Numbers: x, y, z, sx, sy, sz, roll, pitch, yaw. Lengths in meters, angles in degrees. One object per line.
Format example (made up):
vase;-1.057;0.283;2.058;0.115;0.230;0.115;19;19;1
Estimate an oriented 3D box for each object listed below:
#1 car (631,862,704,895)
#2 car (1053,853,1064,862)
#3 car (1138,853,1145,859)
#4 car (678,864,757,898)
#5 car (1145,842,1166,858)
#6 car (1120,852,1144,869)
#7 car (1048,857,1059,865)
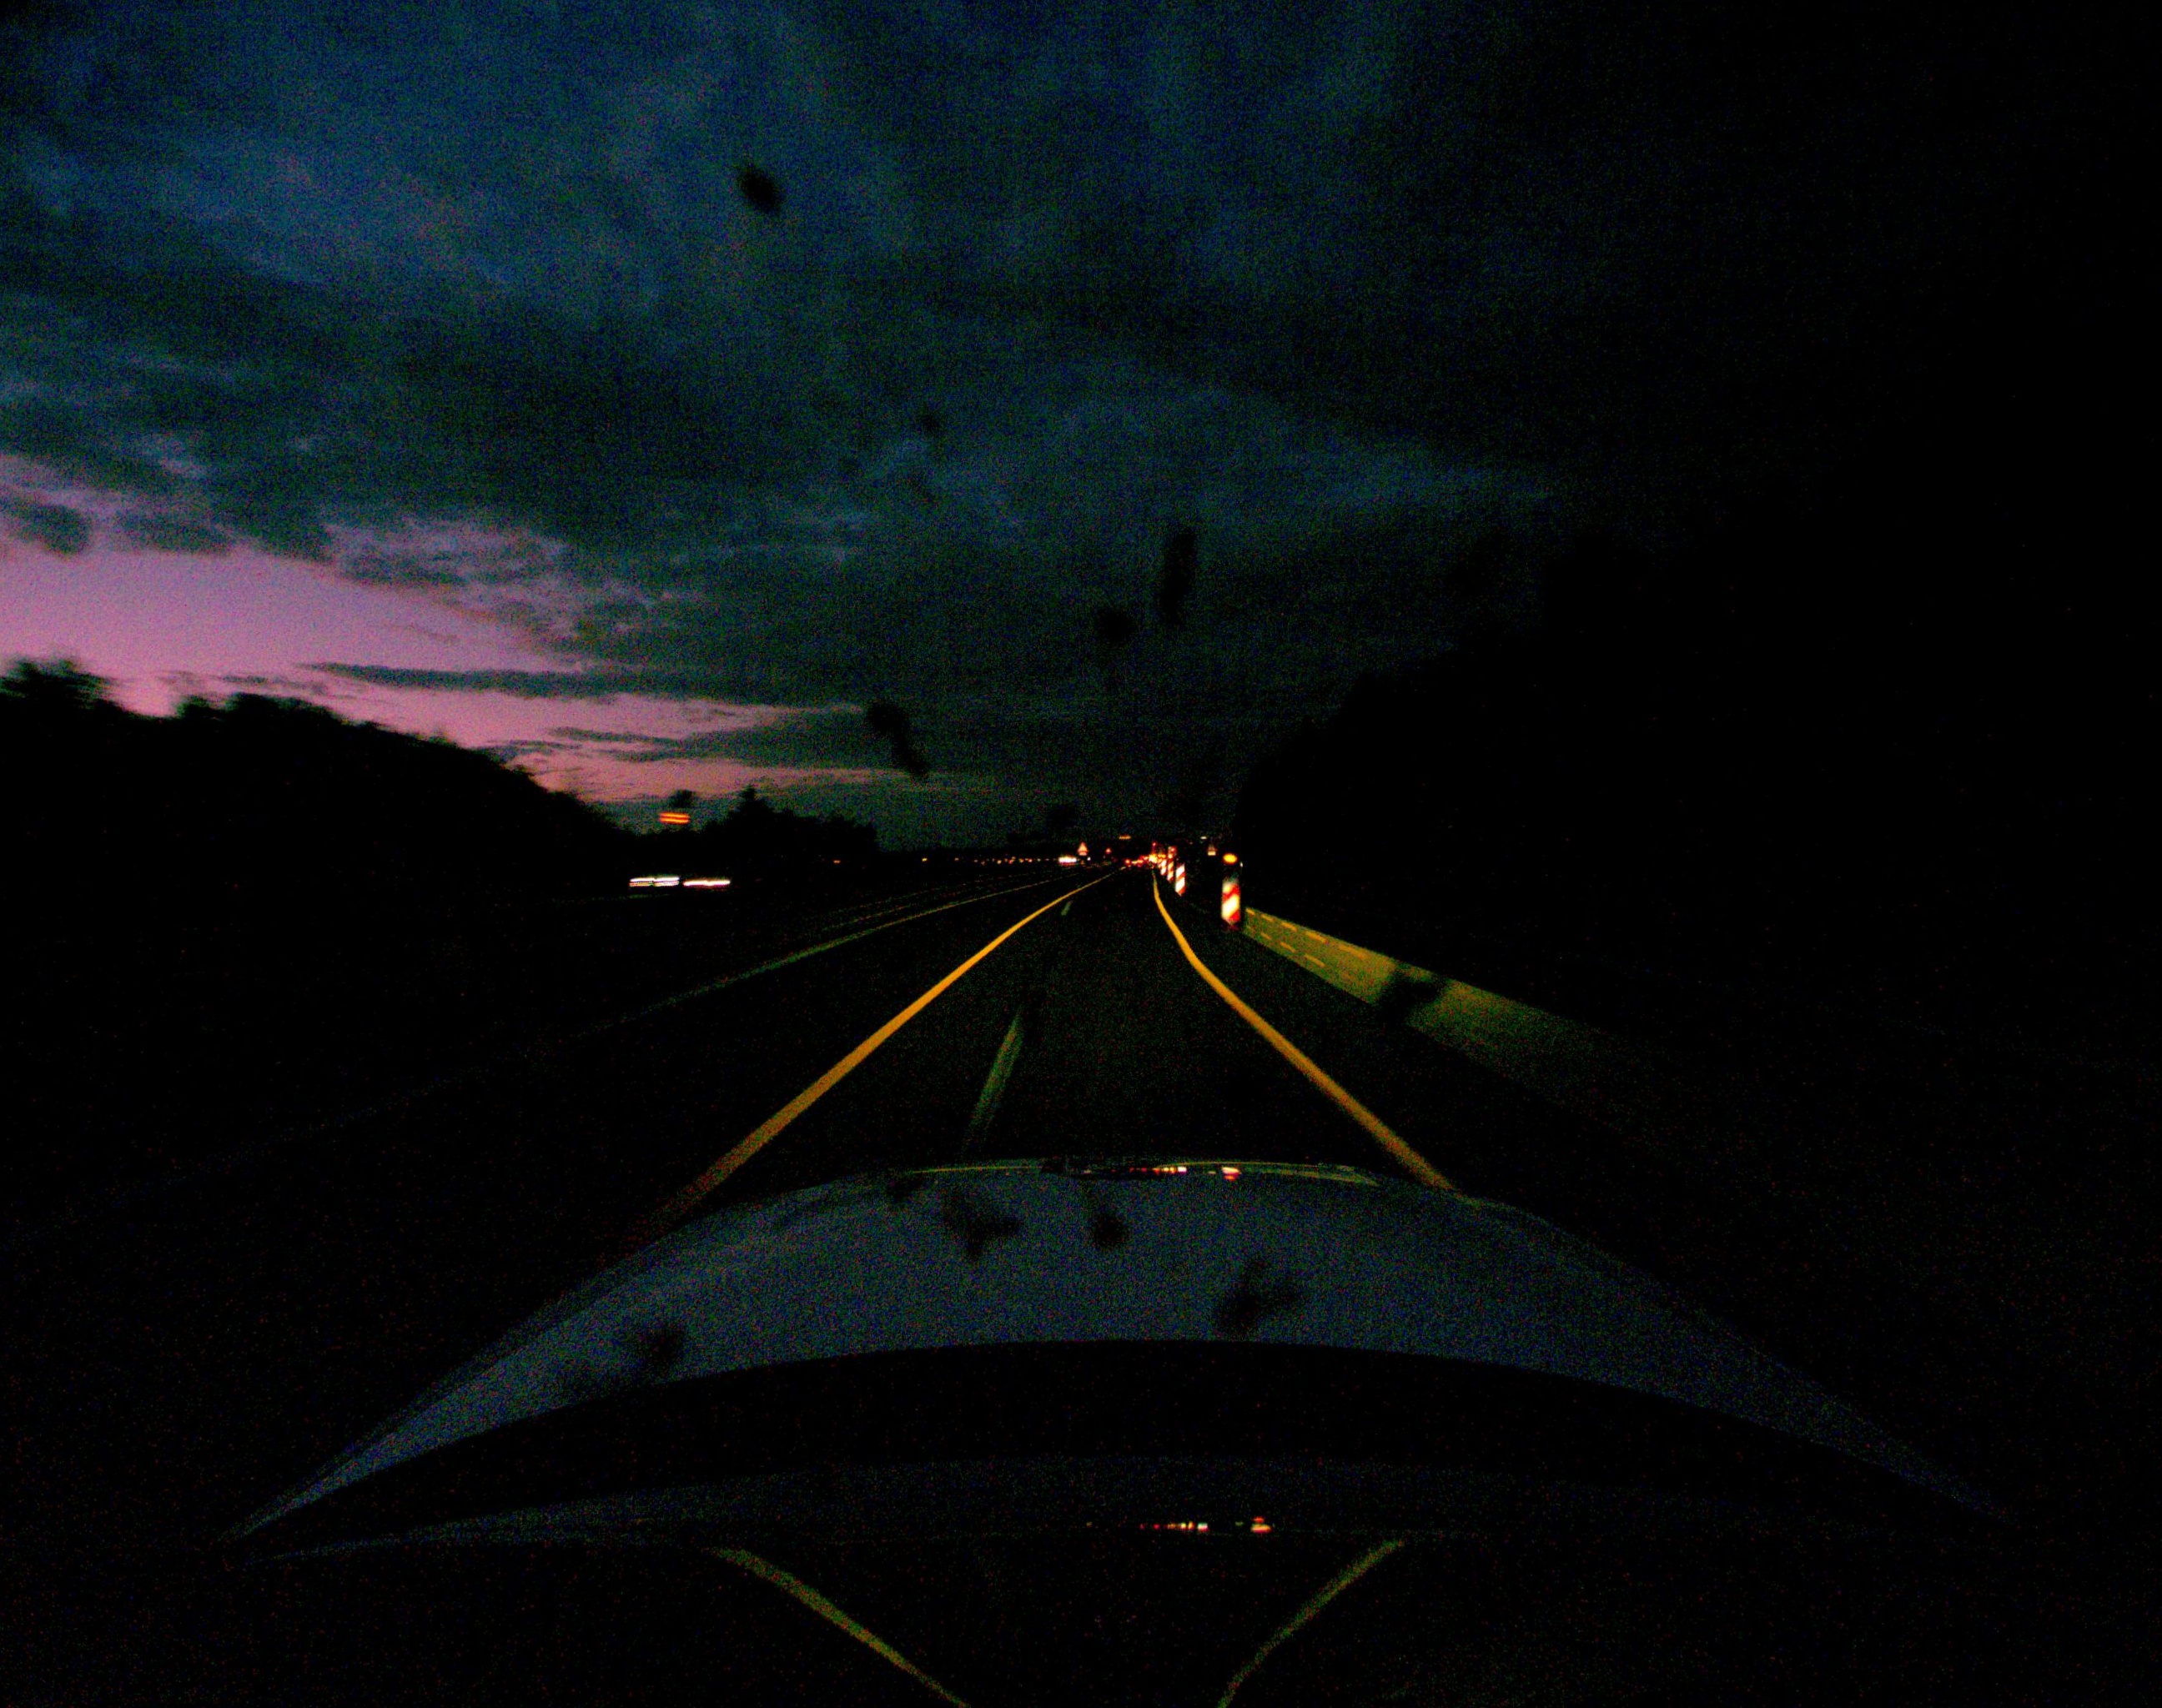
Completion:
car;-23.081;1.340;45.586;1.899;1.714;3.946;0;0;3
car;-4.926;0.771;176.439;1.985;1.828;4.004;0;0;4
car;19.219;0.635;258.560;1.985;2.014;4.004;0;0;4
car;-19.155;1.362;43.175;1.823;1.661;4.844;0;0;2
car;17.039;-0.907;186.766;3.596;3.395;8.006;0;0;-3
car;5.234;0.659;84.263;2.258;1.621;3.999;0;0;-1
car;-5.732;1.423;169.298;1.985;1.714;4.004;0;0;4
